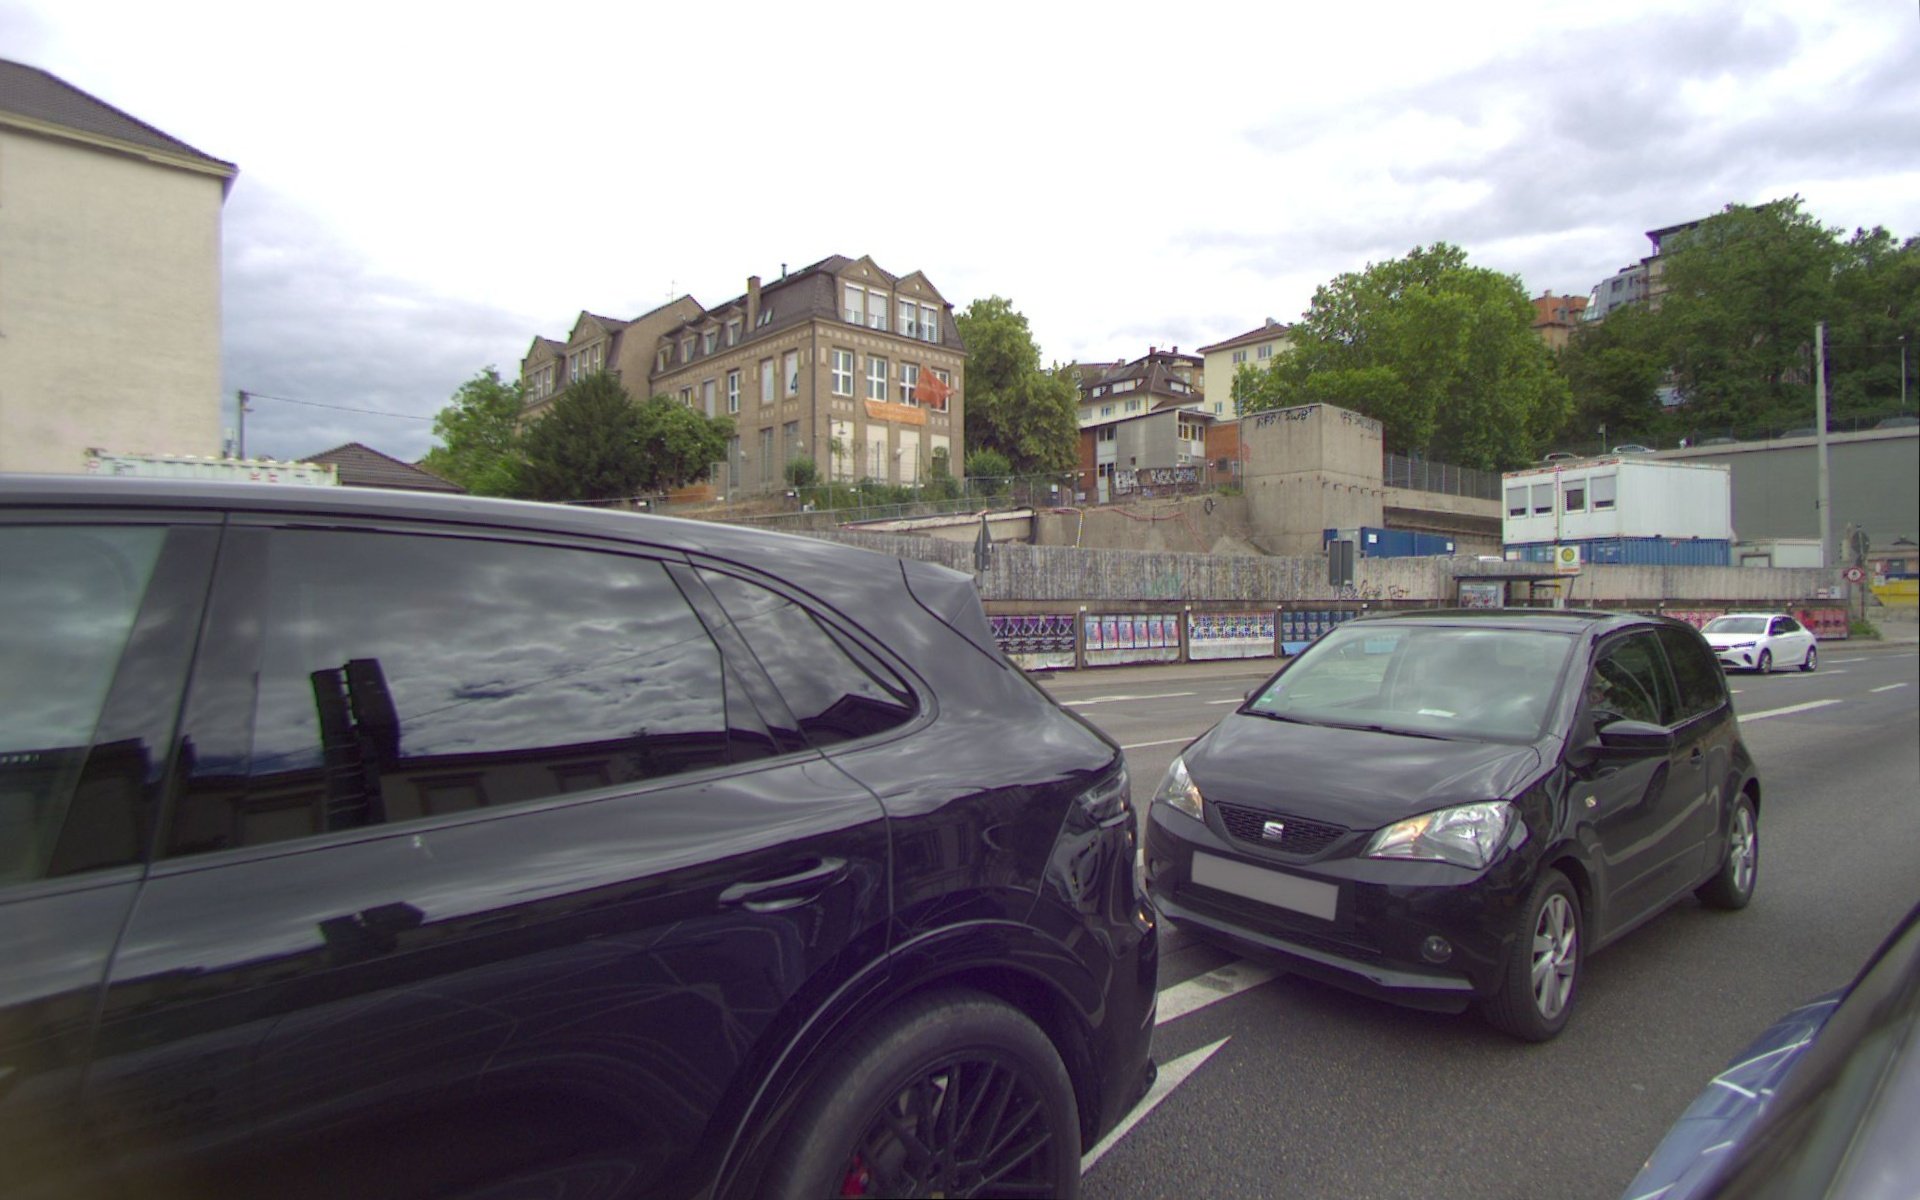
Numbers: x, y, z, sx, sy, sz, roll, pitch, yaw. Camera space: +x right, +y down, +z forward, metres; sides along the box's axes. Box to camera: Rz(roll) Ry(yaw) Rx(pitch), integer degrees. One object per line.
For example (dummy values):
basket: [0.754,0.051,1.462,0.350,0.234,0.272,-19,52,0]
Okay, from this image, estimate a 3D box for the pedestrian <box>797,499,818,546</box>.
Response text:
pedestrian: [-6.860,-3.467,45.556,0.656,2.039,0.644,0,0,-45]

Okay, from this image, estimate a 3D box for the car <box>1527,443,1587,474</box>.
car: [50.247,-11.907,85.231,3.988,2.039,1.968,0,1,45]

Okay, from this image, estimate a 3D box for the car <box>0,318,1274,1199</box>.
car: [-1.627,0.581,1.704,4.552,1.707,1.959,0,-1,-40]

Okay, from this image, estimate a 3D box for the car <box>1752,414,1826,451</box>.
car: [60.612,-12.215,74.019,1.966,2.039,3.991,0,1,-43]

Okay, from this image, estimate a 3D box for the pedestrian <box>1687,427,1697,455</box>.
pedestrian: [56.995,-12.389,78.781,0.568,2.039,0.580,0,0,-44]

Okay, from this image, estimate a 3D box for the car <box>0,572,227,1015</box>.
car: [-4.888,0.690,3.422,3.812,1.563,1.667,0,-1,-40]

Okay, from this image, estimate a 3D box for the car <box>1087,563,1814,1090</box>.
car: [2.522,0.657,4.790,3.812,1.515,1.667,0,-1,-40]

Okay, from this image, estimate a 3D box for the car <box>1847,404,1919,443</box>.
car: [64.152,-12.185,70.051,1.966,2.039,3.991,0,1,-43]

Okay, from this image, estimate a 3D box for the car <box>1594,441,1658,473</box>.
car: [53.563,-11.500,81.442,3.988,2.039,1.968,0,1,45]

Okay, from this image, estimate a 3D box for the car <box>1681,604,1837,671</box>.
car: [19.525,0.861,24.714,3.920,1.498,1.666,0,0,-30]

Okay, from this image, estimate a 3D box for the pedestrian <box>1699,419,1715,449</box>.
pedestrian: [55.504,-12.326,75.183,0.891,2.039,0.849,0,-1,-45]
